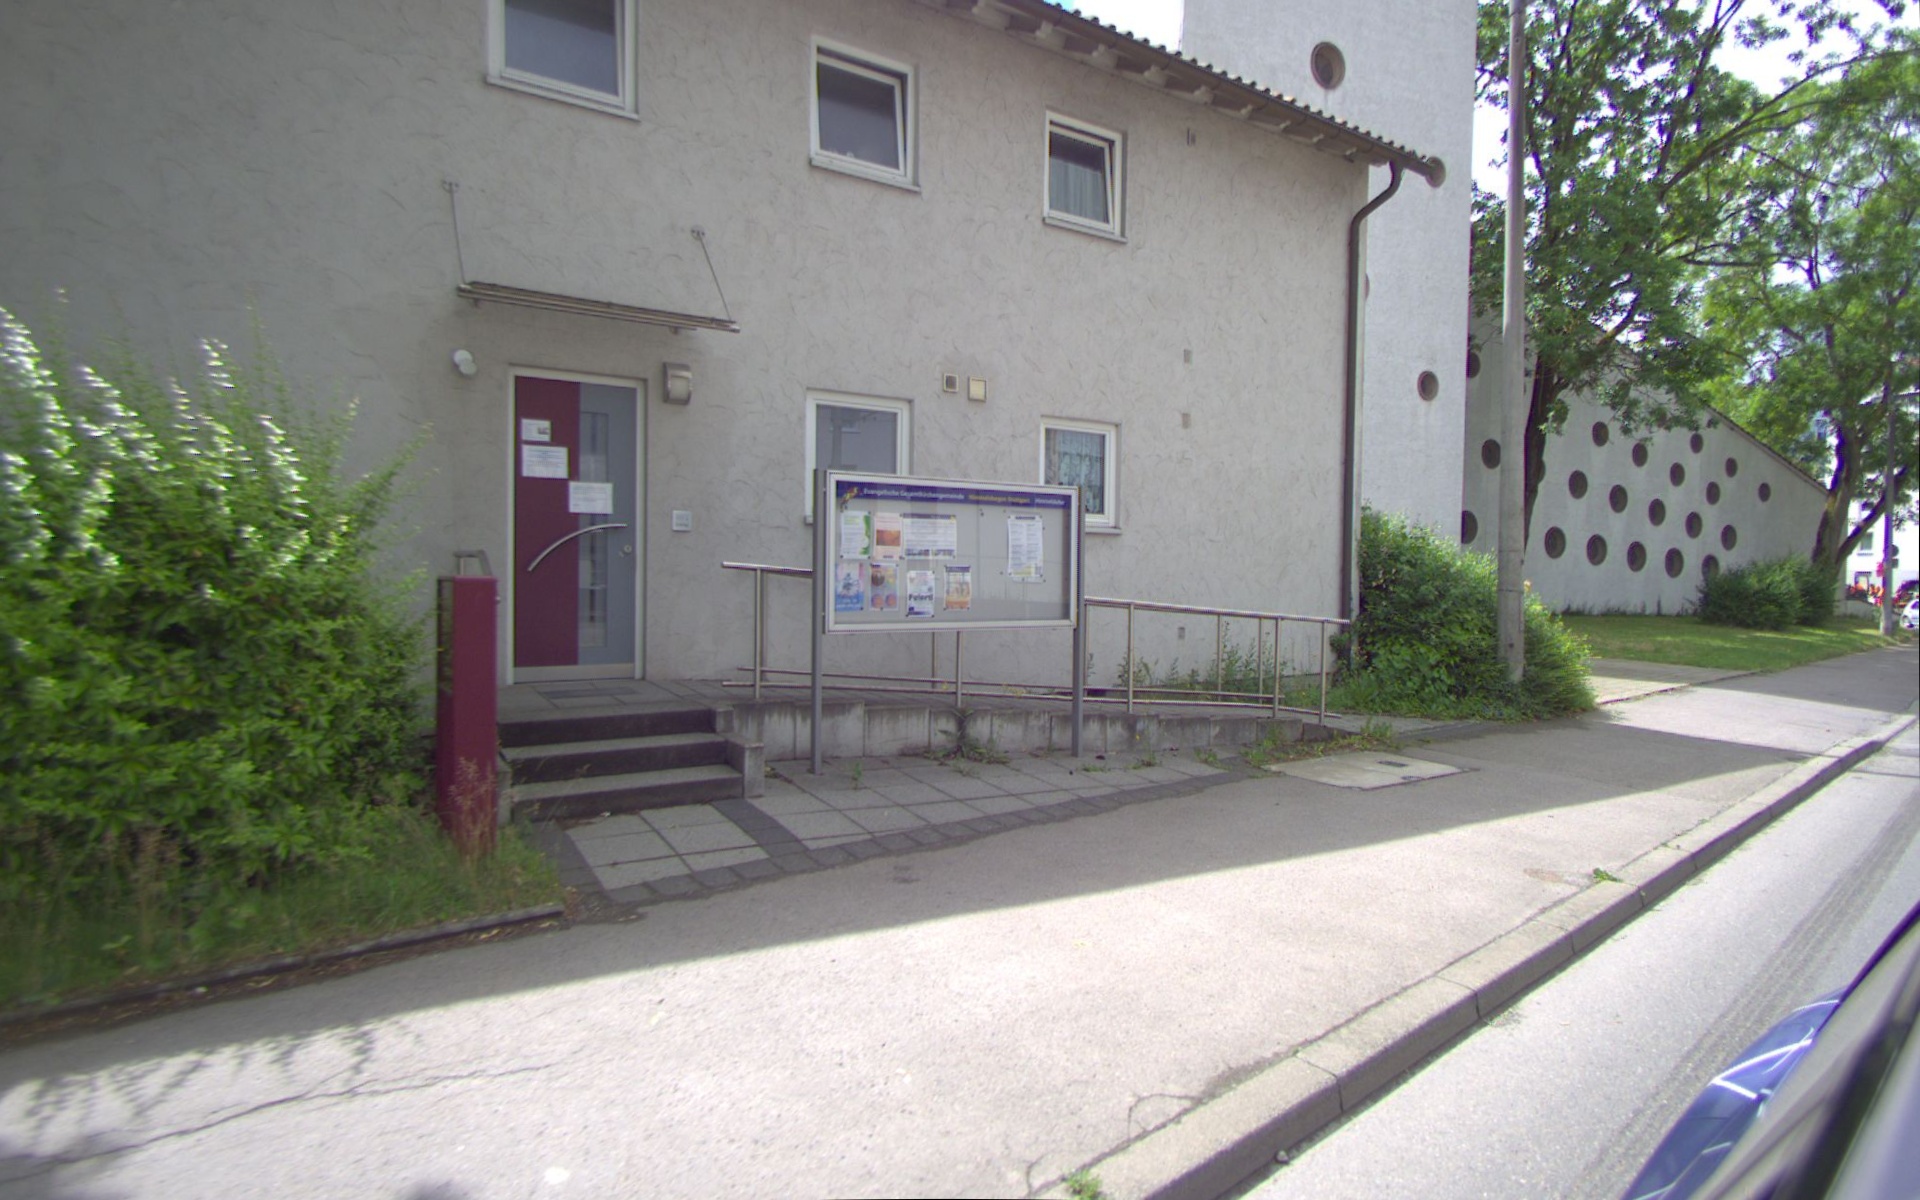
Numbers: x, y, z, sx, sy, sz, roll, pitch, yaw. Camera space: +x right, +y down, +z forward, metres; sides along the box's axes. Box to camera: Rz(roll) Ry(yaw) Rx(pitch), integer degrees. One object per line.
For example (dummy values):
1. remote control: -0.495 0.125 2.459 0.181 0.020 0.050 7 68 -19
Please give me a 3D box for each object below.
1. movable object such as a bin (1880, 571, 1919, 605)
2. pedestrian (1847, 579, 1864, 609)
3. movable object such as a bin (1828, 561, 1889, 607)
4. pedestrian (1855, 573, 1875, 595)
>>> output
1. movable object such as a bin: 58.281 -0.712 61.464 1.960 2.038 2.971 1 1 -4
2. pedestrian: 51.521 -0.359 58.225 0.461 1.702 0.560 -1 1 -10
3. movable object such as a bin: 51.624 -0.927 58.203 1.295 2.626 2.364 0 1 -2
4. pedestrian: 51.298 -0.912 57.368 0.540 1.231 0.618 1 1 -2
